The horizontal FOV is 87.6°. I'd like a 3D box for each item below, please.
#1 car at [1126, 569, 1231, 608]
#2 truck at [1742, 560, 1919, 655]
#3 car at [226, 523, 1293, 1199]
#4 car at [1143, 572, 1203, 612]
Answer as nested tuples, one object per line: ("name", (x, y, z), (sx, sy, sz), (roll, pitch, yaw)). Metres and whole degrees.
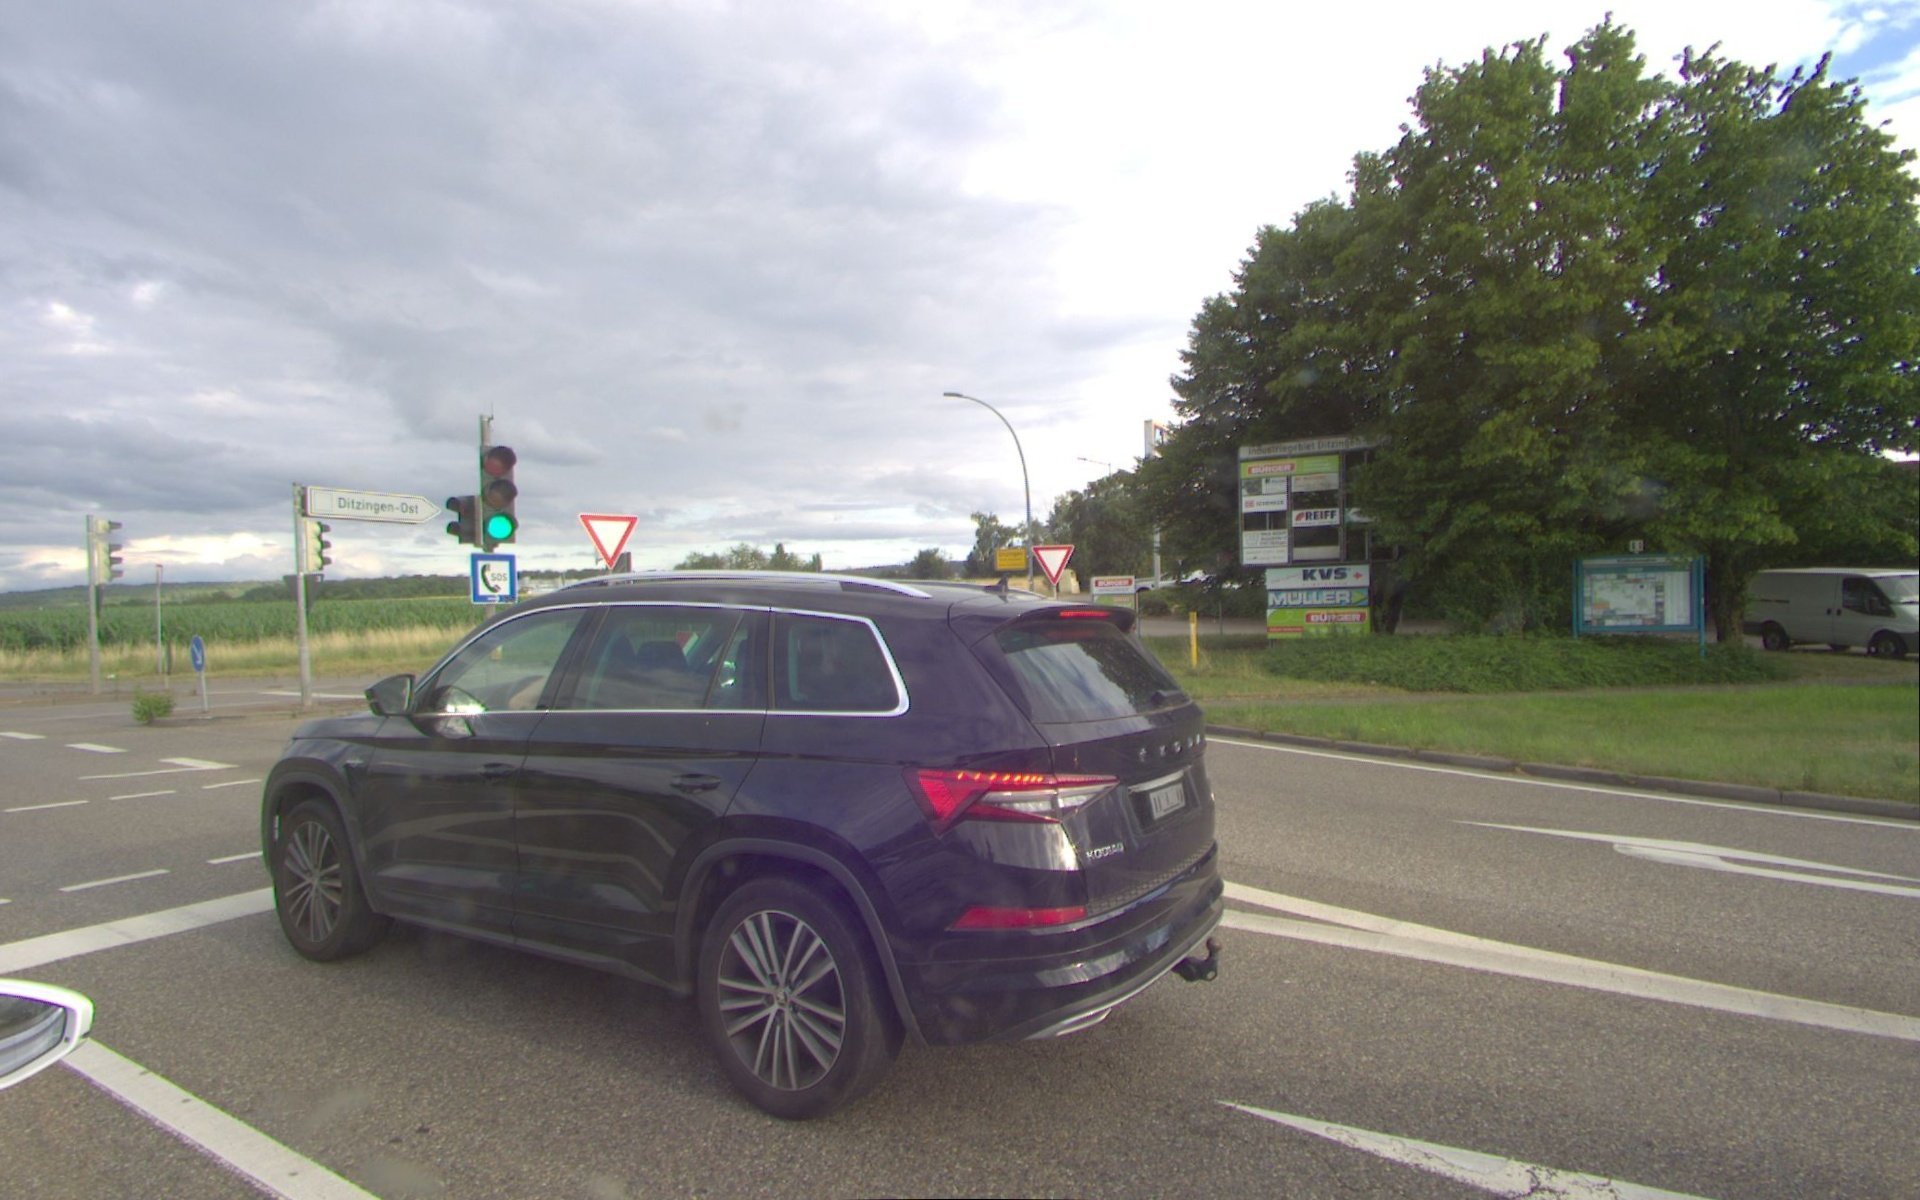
("car", (12.439, -0.634, 57.159), (5.524, 2.041, 1.992), (-2, 1, 25))
("truck", (21.042, 0.209, 23.352), (1.788, 2.022, 4.671), (0, -1, -3))
("car", (-1.053, 0.713, 4.277), (4.416, 1.671, 1.842), (-1, -2, 32))
("car", (11.460, -0.458, 53.672), (1.931, 1.910, 4.284), (-1, 2, 29))
